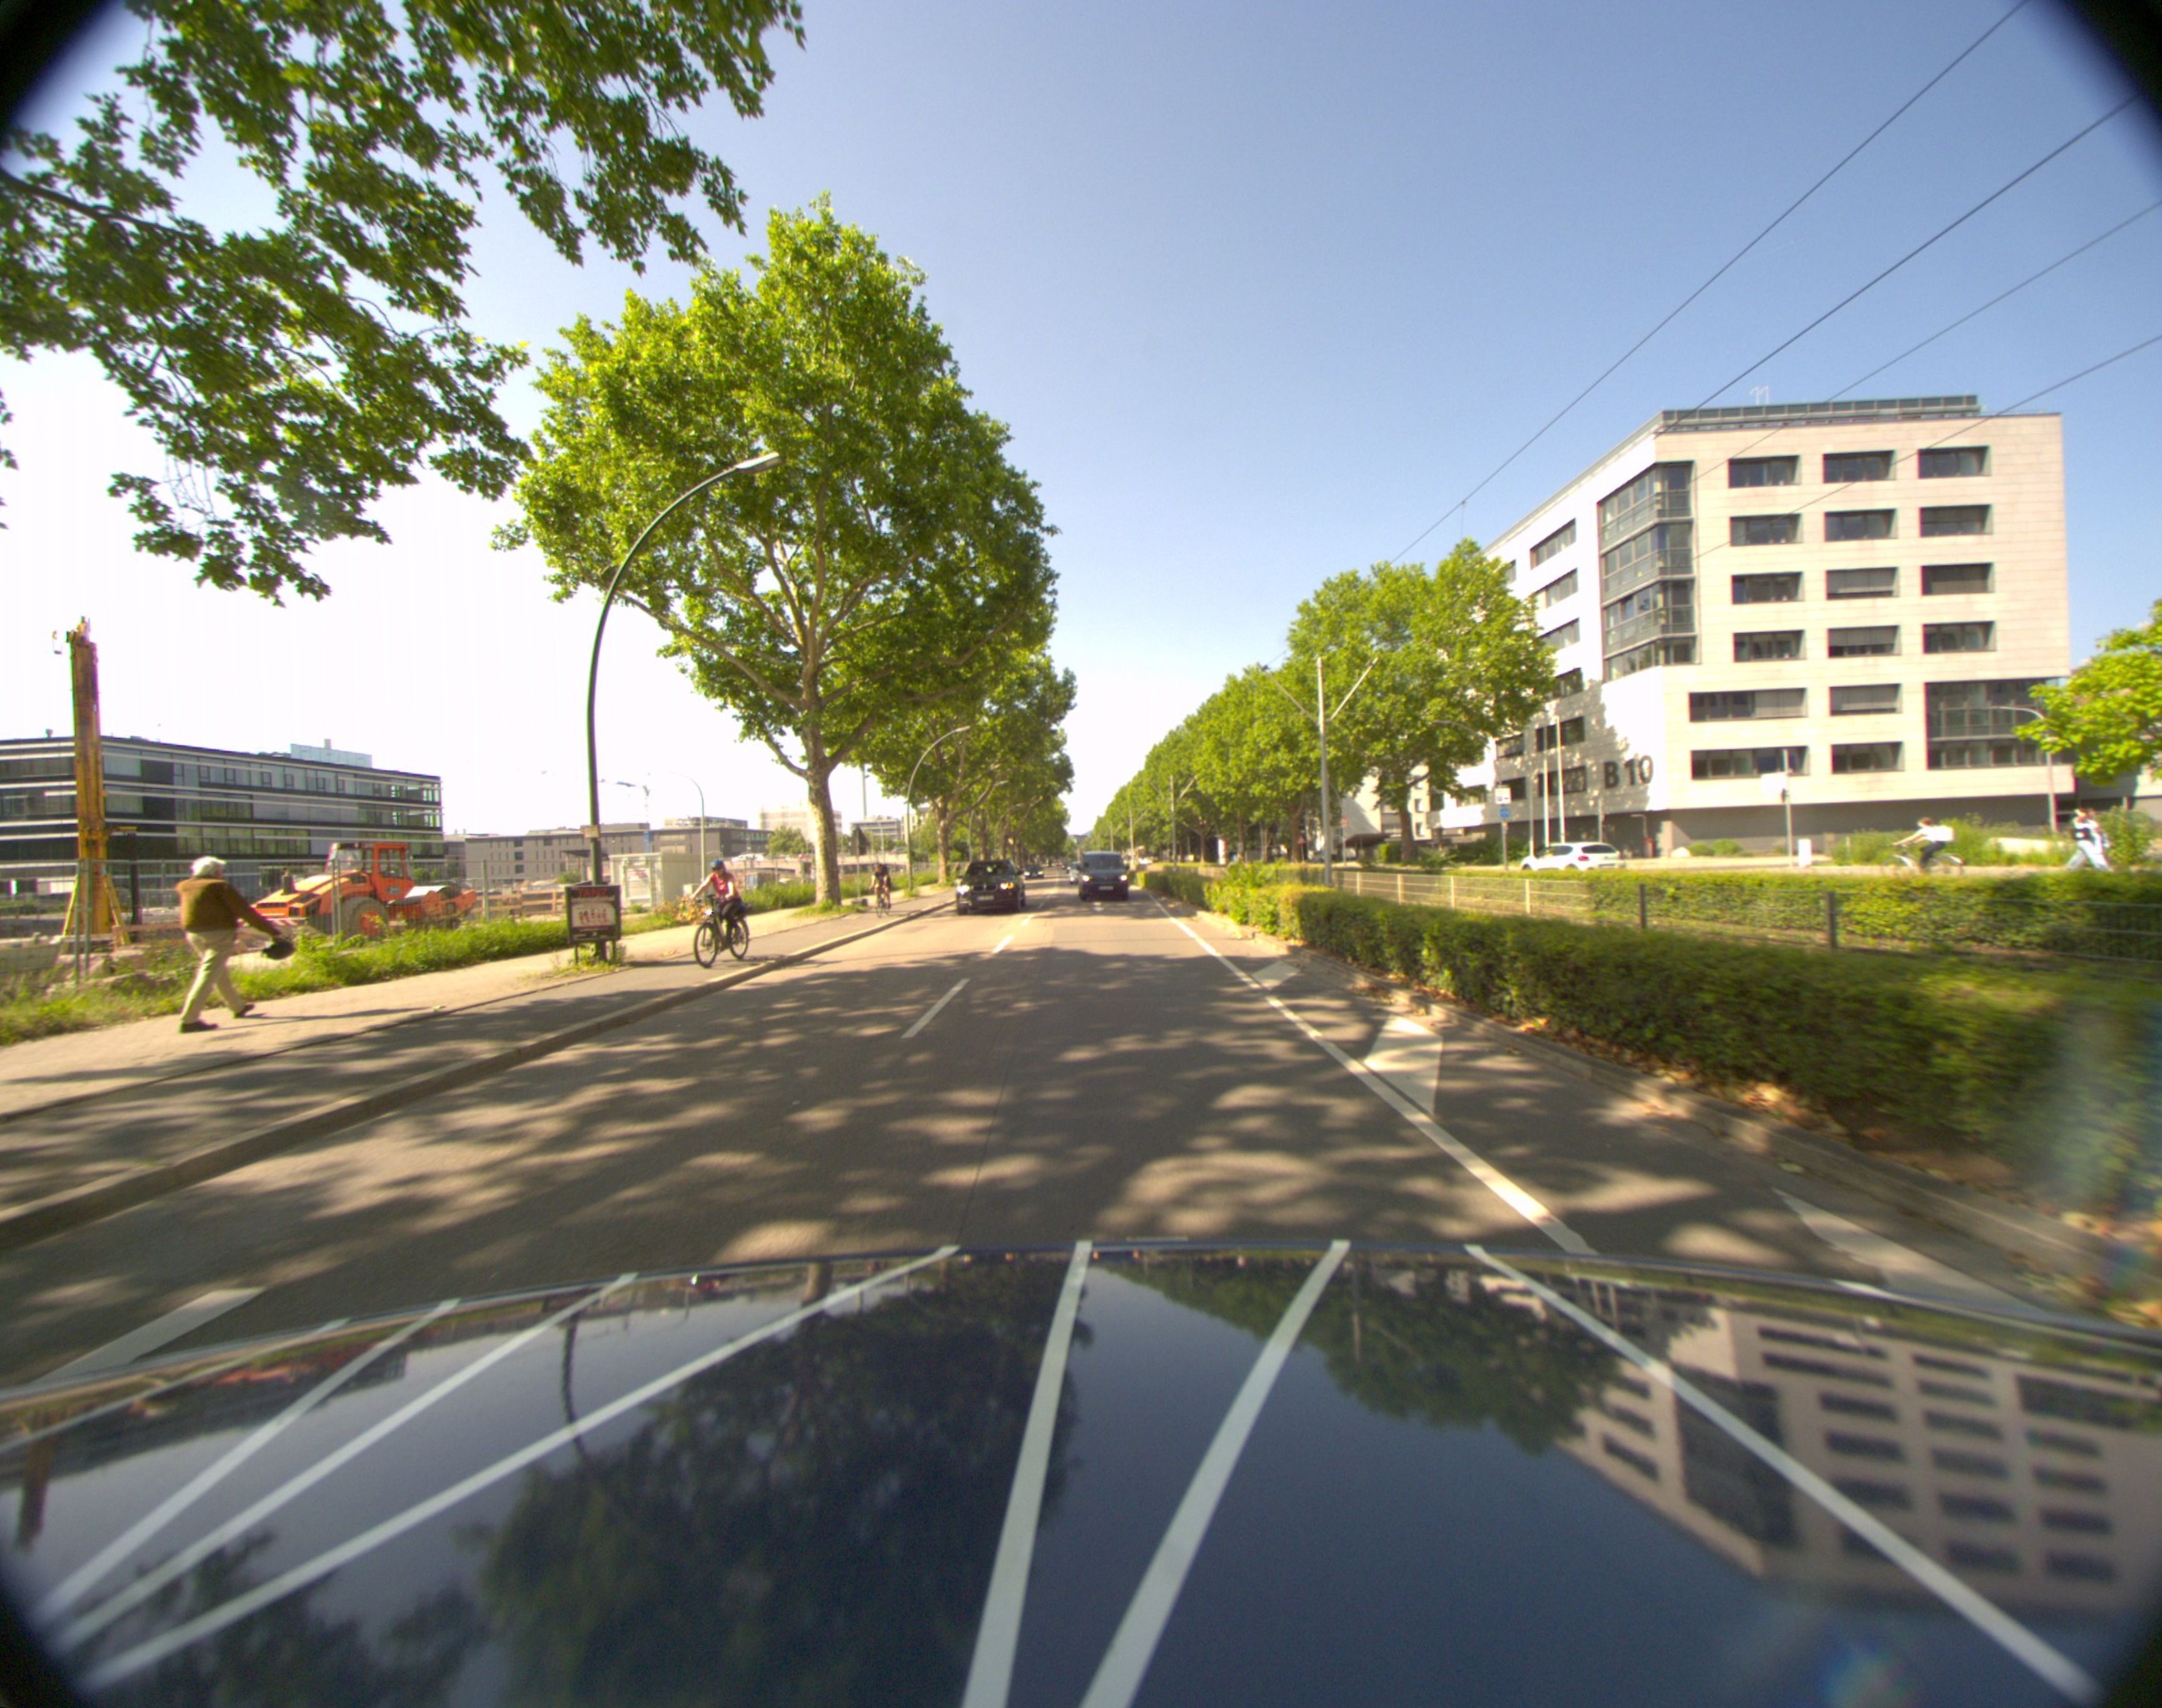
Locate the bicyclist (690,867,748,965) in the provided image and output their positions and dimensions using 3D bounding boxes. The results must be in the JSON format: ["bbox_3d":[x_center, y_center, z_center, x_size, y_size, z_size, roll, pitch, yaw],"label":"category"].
[{"bbox_3d":[-6.082,1.029,12.804,0.621,1.590,0.732,-1,0,-2],"label":"bicyclist"}]

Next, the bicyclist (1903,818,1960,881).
[{"bbox_3d":[21.600,-0.107,19.303,0.656,1.526,0.641,-3,0,1],"label":"bicyclist"}]

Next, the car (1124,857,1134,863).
[{"bbox_3d":[11.163,1.389,176.160,1.861,1.445,3.999,-3,0,-2],"label":"car"}]

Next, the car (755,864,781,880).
[{"bbox_3d":[-57.089,3.235,138.645,3.998,2.722,1.808,-3,0,-3],"label":"car"}]

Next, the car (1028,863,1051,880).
[{"bbox_3d":[-3.904,1.660,72.184,1.854,1.418,4.152,-3,0,1],"label":"car"}]

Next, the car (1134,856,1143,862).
[{"bbox_3d":[14.244,1.290,188.740,1.861,1.445,3.999,-2,0,-2],"label":"car"}]

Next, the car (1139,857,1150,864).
[{"bbox_3d":[14.278,1.548,171.237,1.857,1.445,4.000,-3,0,-2],"label":"car"}]

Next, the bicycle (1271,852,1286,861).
[{"bbox_3d":[26.357,0.284,101.447,1.770,1.096,0.421,-3,0,-2],"label":"bicycle"}]

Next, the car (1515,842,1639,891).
[{"bbox_3d":[17.663,0.422,27.300,1.761,1.560,4.019,-3,0,0],"label":"car"}]

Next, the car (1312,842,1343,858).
[{"bbox_3d":[26.572,-0.381,82.004,1.747,1.540,4.348,-3,0,-2],"label":"car"}]

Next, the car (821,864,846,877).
[{"bbox_3d":[-45.311,3.000,139.237,3.998,2.308,1.808,-3,0,-3],"label":"car"}]

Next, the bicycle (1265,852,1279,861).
[{"bbox_3d":[26.165,0.328,104.285,1.770,1.096,0.421,-3,0,-2],"label":"bicycle"}]

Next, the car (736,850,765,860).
[{"bbox_3d":[-55.570,0.224,127.925,3.998,1.500,1.808,-3,0,-3],"label":"car"}]

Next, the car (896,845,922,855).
[{"bbox_3d":[-29.083,-0.648,128.718,3.998,1.500,1.808,-3,0,-3],"label":"car"}]

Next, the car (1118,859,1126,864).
[{"bbox_3d":[11.801,2.099,219.307,1.701,1.406,3.892,-5,0,-2],"label":"car"}]

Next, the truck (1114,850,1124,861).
[{"bbox_3d":[12.091,0.556,241.594,2.752,3.259,6.540,-3,0,-2],"label":"truck"}]

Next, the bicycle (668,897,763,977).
[{"bbox_3d":[-6.068,1.347,12.743,0.653,1.123,1.945,-1,0,-1],"label":"bicycle"}]

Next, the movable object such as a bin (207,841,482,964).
[{"bbox_3d":[-21.275,1.270,22.525,2.376,3.053,5.984,-3,0,-3],"label":"movable object such as a bin"}]

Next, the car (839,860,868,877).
[{"bbox_3d":[-39.630,2.575,132.388,4.376,2.722,1.808,-3,0,-3],"label":"car"}]

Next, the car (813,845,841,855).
[{"bbox_3d":[-42.077,-0.705,125.773,3.998,1.500,1.808,-3,0,-3],"label":"car"}]

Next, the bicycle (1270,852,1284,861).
[{"bbox_3d":[26.334,0.286,101.944,1.770,1.096,0.421,-3,0,-2],"label":"bicycle"}]

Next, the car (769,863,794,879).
[{"bbox_3d":[-57.334,3.265,145.527,3.998,2.722,1.808,-3,0,-3],"label":"car"}]

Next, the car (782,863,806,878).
[{"bbox_3d":[-57.531,3.294,152.455,3.998,2.722,1.808,-3,0,-3],"label":"car"}]

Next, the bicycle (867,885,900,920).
[{"bbox_3d":[-6.144,1.491,23.720,0.599,0.974,1.781,0,0,-2],"label":"bicycle"}]

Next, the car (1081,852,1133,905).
[{"bbox_3d":[0.939,0.858,28.323,1.789,1.839,4.000,0,0,1],"label":"car"}]

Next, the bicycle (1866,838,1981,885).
[{"bbox_3d":[21.616,0.190,19.564,0.666,1.117,2.031,-3,0,1],"label":"bicycle"}]

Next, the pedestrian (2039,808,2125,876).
[{"bbox_3d":[24.518,-0.289,18.632,0.722,1.579,1.015,-3,0,0],"label":"pedestrian"}]

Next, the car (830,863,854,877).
[{"bbox_3d":[-45.485,3.023,144.788,3.998,2.308,1.808,-3,0,-3],"label":"car"}]

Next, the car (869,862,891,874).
[{"bbox_3d":[-40.476,2.858,153.204,3.998,2.308,1.808,-3,0,-3],"label":"car"}]

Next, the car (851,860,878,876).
[{"bbox_3d":[-39.677,2.597,139.421,4.376,2.722,1.808,-3,0,-3],"label":"car"}]

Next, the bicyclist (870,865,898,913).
[{"bbox_3d":[-6.147,1.078,23.774,0.600,1.481,1.215,0,0,-2],"label":"bicyclist"}]

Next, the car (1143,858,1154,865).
[{"bbox_3d":[13.927,1.596,157.033,1.820,1.481,3.912,0,0,-2],"label":"car"}]

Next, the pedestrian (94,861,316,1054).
[{"bbox_3d":[-9.297,1.036,8.139,0.941,1.881,1.151,-3,0,0],"label":"pedestrian"}]

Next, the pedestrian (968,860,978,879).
[{"bbox_3d":[-10.212,1.454,72.057,0.712,1.714,1.066,-3,0,-2],"label":"pedestrian"}]

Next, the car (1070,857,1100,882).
[{"bbox_3d":[0.251,1.067,52.280,1.924,1.543,4.151,-3,0,0],"label":"car"}]

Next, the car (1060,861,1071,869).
[{"bbox_3d":[-3.028,2.164,145.377,1.854,1.418,4.152,-3,0,1],"label":"car"}]

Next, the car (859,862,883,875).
[{"bbox_3d":[-40.054,2.818,145.171,3.998,2.308,1.808,-3,0,-3],"label":"car"}]

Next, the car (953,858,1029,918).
[{"bbox_3d":[-2.861,1.035,25.073,1.924,1.720,4.151,-3,0,0],"label":"car"}]

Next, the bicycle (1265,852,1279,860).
[{"bbox_3d":[26.142,0.299,103.823,1.770,1.096,0.421,-3,0,-2],"label":"bicycle"}]

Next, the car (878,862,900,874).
[{"bbox_3d":[-40.415,2.877,160.099,3.998,2.308,1.808,-3,0,-3],"label":"car"}]

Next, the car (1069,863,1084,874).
[{"bbox_3d":[-0.564,1.945,103.631,1.854,1.418,4.152,-3,0,1],"label":"car"}]

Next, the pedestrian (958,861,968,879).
[{"bbox_3d":[-11.230,1.536,72.228,0.697,1.673,0.959,-3,0,-2],"label":"pedestrian"}]
